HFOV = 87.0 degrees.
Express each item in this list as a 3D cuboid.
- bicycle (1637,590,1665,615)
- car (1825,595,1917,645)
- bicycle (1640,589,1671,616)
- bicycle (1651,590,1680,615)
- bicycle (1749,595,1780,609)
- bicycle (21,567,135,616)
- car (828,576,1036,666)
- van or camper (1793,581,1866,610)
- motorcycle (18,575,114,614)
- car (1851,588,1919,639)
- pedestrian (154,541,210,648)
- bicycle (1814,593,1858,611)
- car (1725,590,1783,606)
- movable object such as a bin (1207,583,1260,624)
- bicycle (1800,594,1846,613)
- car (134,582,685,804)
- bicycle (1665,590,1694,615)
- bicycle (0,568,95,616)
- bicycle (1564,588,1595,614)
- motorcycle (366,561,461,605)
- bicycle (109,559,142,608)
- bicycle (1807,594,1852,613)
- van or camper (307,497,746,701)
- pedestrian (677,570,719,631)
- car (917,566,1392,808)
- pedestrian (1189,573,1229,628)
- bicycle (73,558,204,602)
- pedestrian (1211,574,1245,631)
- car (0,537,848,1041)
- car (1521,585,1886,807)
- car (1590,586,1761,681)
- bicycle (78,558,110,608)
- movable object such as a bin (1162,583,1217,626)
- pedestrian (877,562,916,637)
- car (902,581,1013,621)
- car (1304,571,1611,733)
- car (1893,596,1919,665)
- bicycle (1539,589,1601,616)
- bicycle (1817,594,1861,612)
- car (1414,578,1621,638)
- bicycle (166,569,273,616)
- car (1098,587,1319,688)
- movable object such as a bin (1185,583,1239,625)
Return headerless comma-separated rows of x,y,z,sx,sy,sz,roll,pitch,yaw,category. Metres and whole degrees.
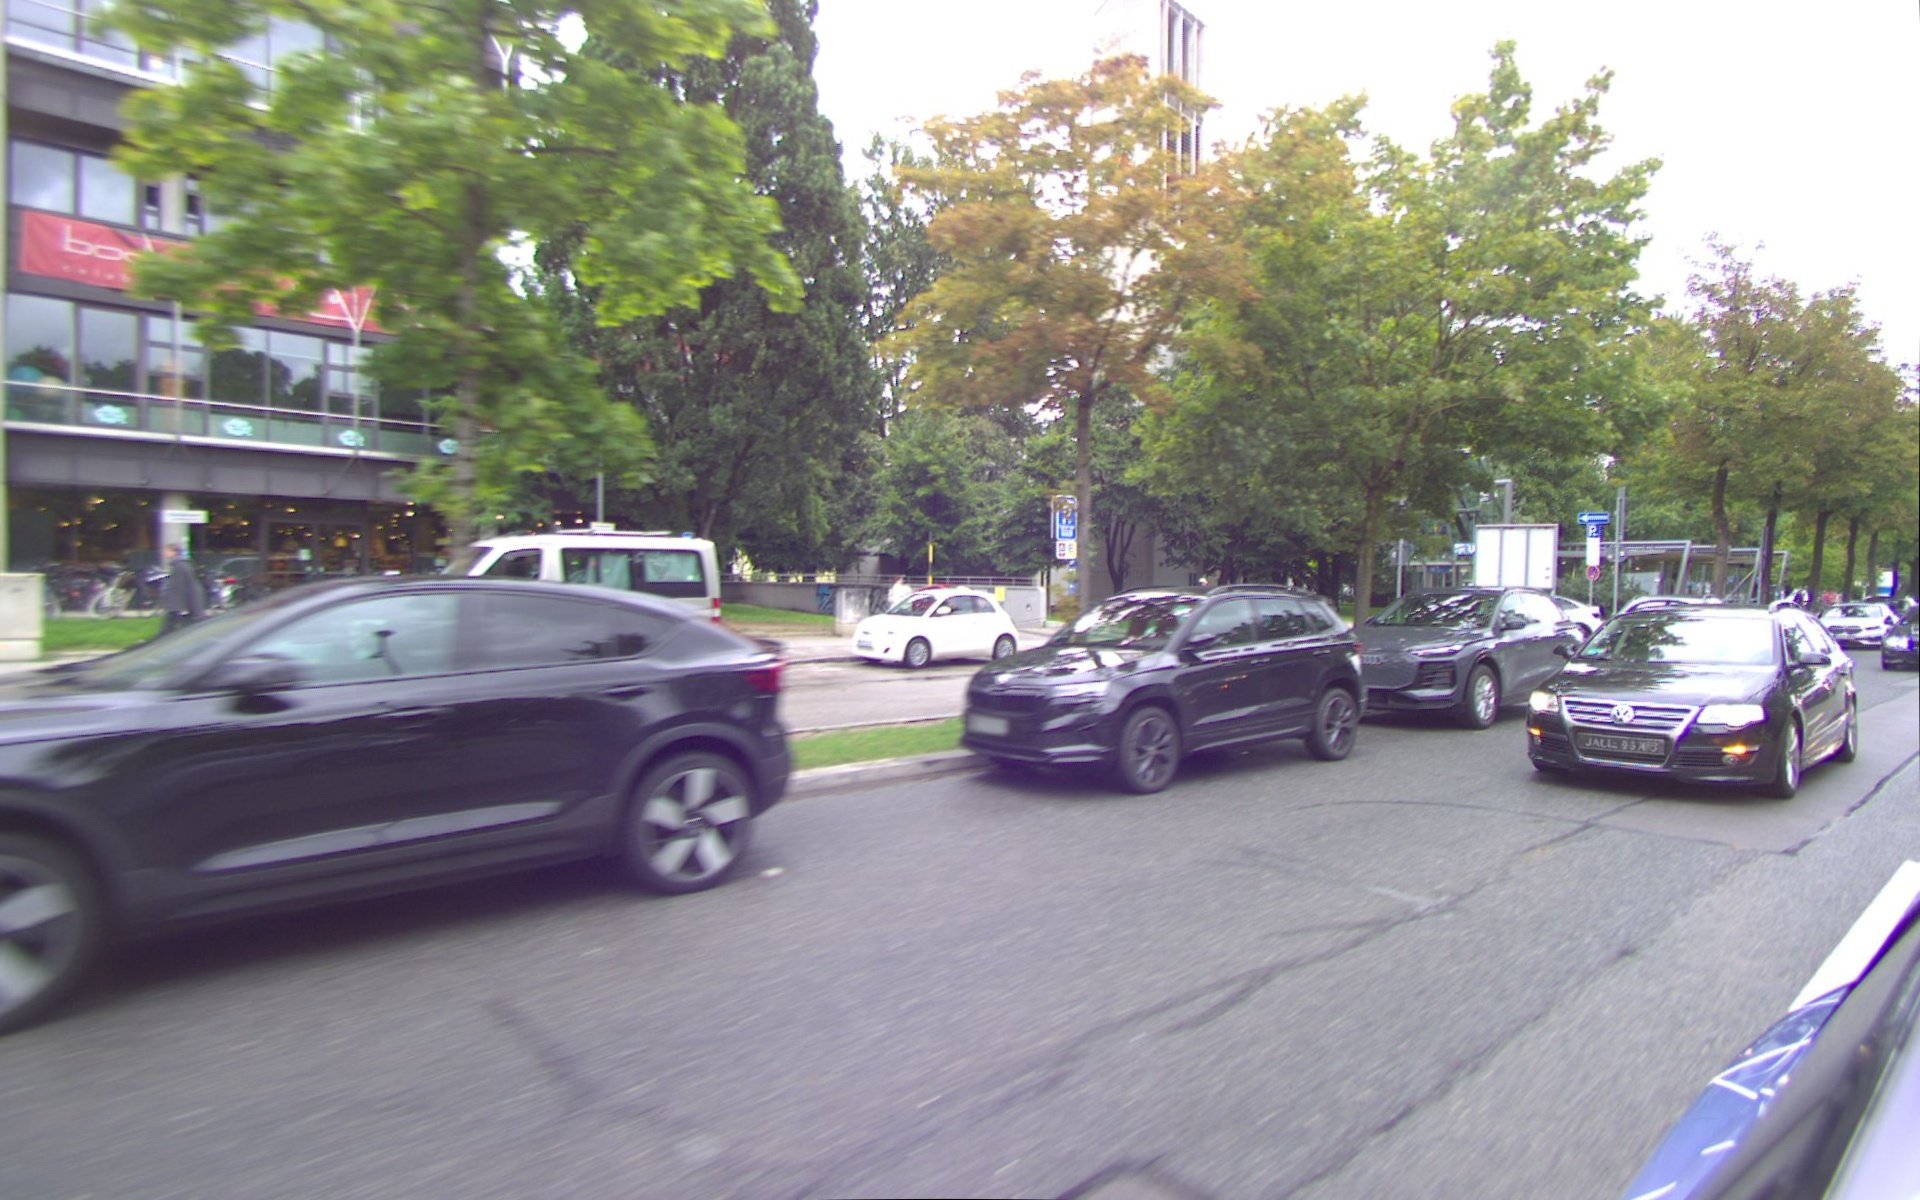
37.502,0.112,54.910,2.505,1.296,0.646,0,1,-41,bicycle
28.679,0.579,31.815,4.405,1.452,1.656,0,1,-41,car
34.470,0.134,50.156,2.505,1.296,0.646,0,1,-41,bicycle
37.890,0.116,54.367,2.505,1.296,0.646,0,1,-41,bicycle
68.873,0.185,86.659,2.088,1.168,0.718,1,1,0,bicycle
-18.669,-0.191,21.484,0.732,0.970,2.049,1,1,-3,bicycle
-0.523,0.375,21.009,3.929,1.671,1.998,0,1,-40,car
72.796,-0.402,84.713,6.069,2.325,2.153,0,1,-23,van or camper
-20.567,-0.135,23.319,1.537,0.876,0.855,0,1,-33,motorcycle
33.206,0.444,35.921,4.515,1.696,1.790,0,1,-41,car
-13.228,-0.097,17.227,0.718,1.773,0.577,0,1,-36,pedestrian
63.502,0.155,73.390,0.520,1.171,2.344,1,3,-40,bicycle
79.026,-0.221,100.746,1.856,1.516,4.305,0,1,-43,car
9.874,0.118,36.565,1.292,1.427,1.338,0,1,-42,movable object such as a bin
60.833,0.245,71.362,0.520,1.171,2.344,1,3,-40,bicycle
-4.627,0.612,8.833,3.940,1.497,1.750,0,1,-42,car
38.243,0.119,53.785,2.505,1.296,0.646,0,1,-41,bicycle
-19.475,-0.190,21.394,0.732,0.970,2.049,1,1,-3,bicycle
32.311,0.034,52.764,2.505,1.296,0.605,0,1,-41,bicycle
-16.224,-0.497,30.094,0.869,1.244,2.342,3,3,42,motorcycle
-21.464,-0.439,26.015,0.577,1.219,2.140,0,1,-42,bicycle
61.665,0.244,71.763,2.338,1.171,0.521,5,3,42,bicycle
-6.402,-0.049,15.507,5.851,2.590,1.998,0,1,-40,van or camper
-5.902,0.006,22.750,0.685,1.306,0.735,0,4,-35,pedestrian
1.870,0.576,8.978,4.308,1.672,1.726,0,1,-38,car
8.208,0.001,33.377,0.923,1.742,0.830,0,3,-40,pedestrian
-17.447,-0.433,21.592,0.757,0.881,2.401,1,1,4,bicycle
8.506,0.073,32.121,0.970,1.742,0.540,0,3,-40,pedestrian
-2.832,0.610,4.822,4.346,1.672,1.767,0,1,-41,car
6.778,0.630,9.011,4.591,1.493,1.750,0,0,-42,car
13.937,0.564,19.624,4.376,1.609,1.764,0,1,-42,car
-21.923,-0.439,25.597,0.577,1.219,2.140,0,1,-42,bicycle
7.887,0.124,34.811,1.292,1.427,1.338,0,1,-42,movable object such as a bin
-1.537,-0.019,24.513,0.718,1.773,0.577,0,1,-36,pedestrian
-0.118,0.008,31.319,1.536,1.166,3.443,0,1,-43,car
6.518,0.528,13.004,4.734,1.722,1.765,0,1,-40,car
22.020,0.635,22.148,4.589,1.447,1.818,0,0,-40,car
29.966,0.108,49.743,0.636,1.296,2.547,0,1,-40,bicycle
64.336,0.184,74.078,0.520,1.171,2.344,1,3,-40,bicycle
15.665,0.211,28.605,4.752,1.645,1.975,0,0,-2,car
-16.029,-0.181,21.974,0.733,0.970,2.046,1,1,4,bicycle
4.258,0.554,17.045,3.933,1.507,1.765,0,-1,-43,car
8.879,0.120,35.692,1.292,1.427,1.338,0,1,-42,movable object such as a bin
